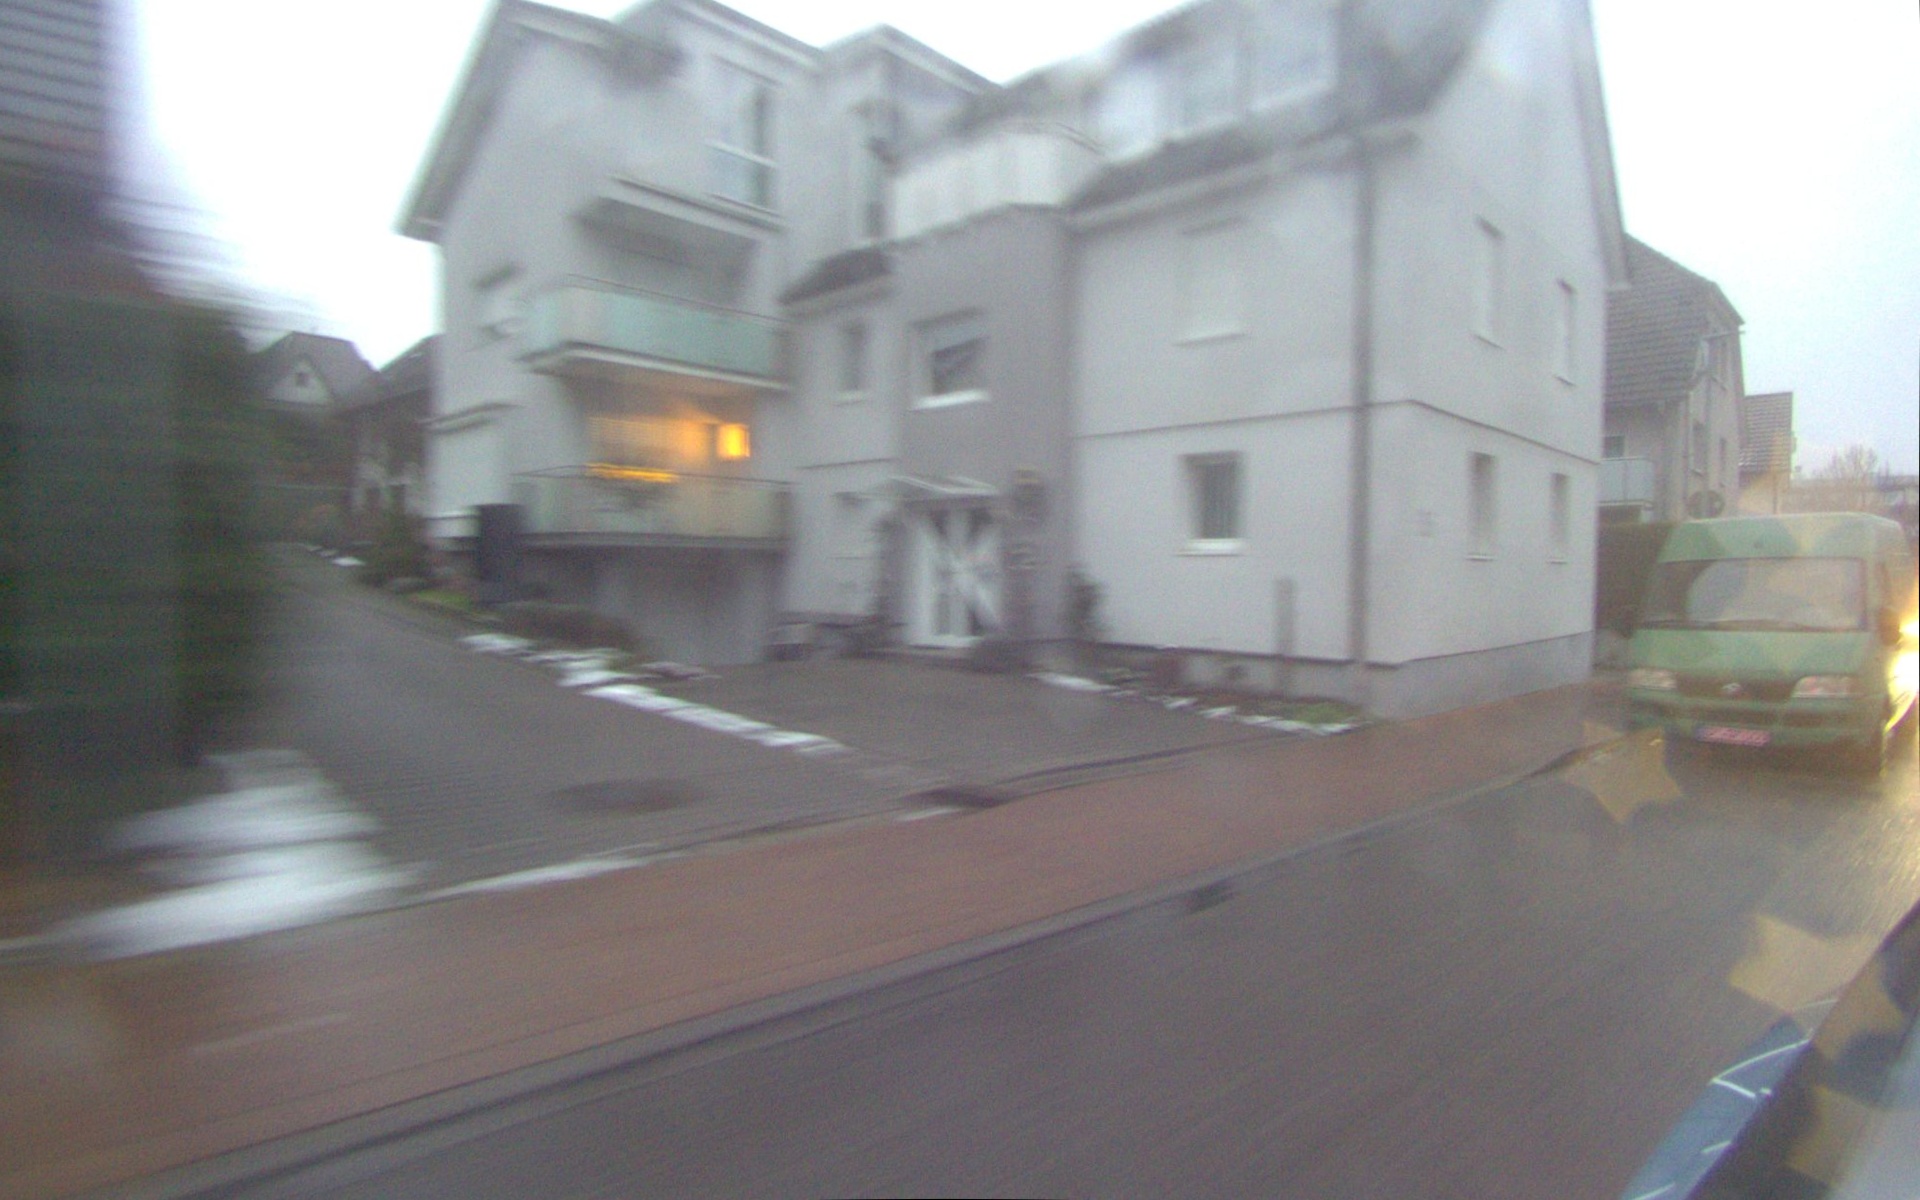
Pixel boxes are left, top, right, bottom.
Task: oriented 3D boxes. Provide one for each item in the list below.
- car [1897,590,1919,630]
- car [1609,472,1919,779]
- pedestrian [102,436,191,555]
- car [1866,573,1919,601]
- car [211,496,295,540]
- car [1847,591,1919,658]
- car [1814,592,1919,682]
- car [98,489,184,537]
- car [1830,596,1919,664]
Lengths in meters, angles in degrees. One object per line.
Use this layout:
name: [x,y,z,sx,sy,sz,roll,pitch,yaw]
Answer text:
car: [39.008,0.389,40.420,1.982,1.577,4.177,1,1,38]
car: [8.938,0.195,10.808,5.518,2.485,2.012,0,0,-42]
pedestrian: [-16.750,-2.134,20.845,0.994,2.322,1.219,6,4,39]
car: [67.257,-0.931,72.387,1.828,1.907,4.857,1,1,18]
car: [-27.456,-3.188,39.259,3.987,1.553,1.847,5,3,43]
car: [24.416,0.581,26.311,1.810,1.558,4.236,1,2,44]
car: [17.442,0.632,19.157,1.644,1.496,4.301,1,1,44]
car: [-29.596,-3.149,36.547,3.987,1.553,1.847,5,3,43]
car: [21.406,0.640,23.375,1.736,1.424,4.235,1,1,44]
